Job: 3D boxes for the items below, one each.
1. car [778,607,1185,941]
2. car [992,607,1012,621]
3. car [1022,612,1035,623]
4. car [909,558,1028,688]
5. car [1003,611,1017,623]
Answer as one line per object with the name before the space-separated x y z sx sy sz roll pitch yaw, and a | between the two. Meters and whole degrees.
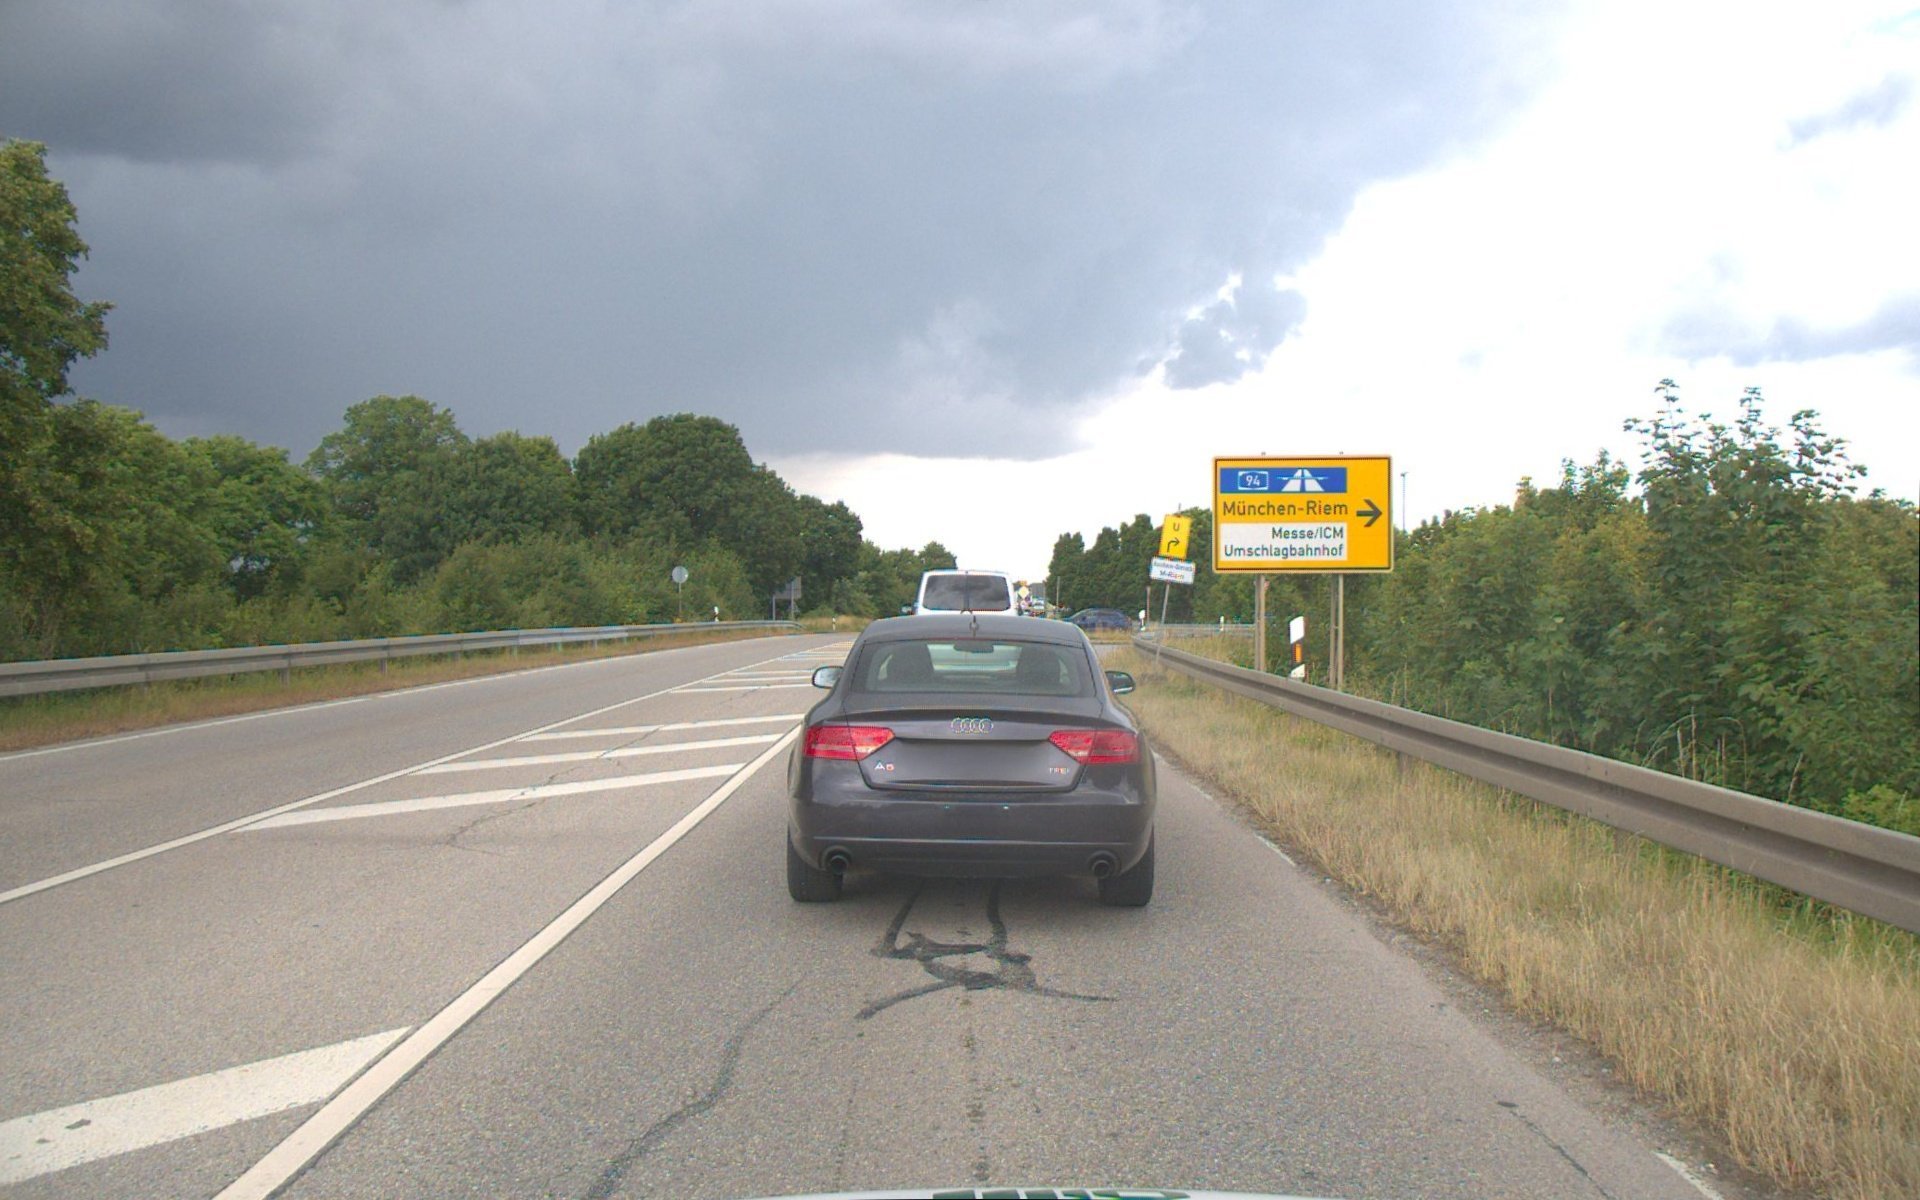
car | 0.073 0.760 8.795 1.743 1.423 3.336 0 0 -1
car | 5.007 1.705 198.429 2.161 1.610 4.378 1 0 -1
car | 10.686 2.699 257.698 1.952 1.722 4.001 1 0 2
car | 0.123 0.365 28.438 1.871 2.049 3.999 1 0 -1
car | 6.578 2.193 218.378 1.699 1.479 3.999 1 0 -1
